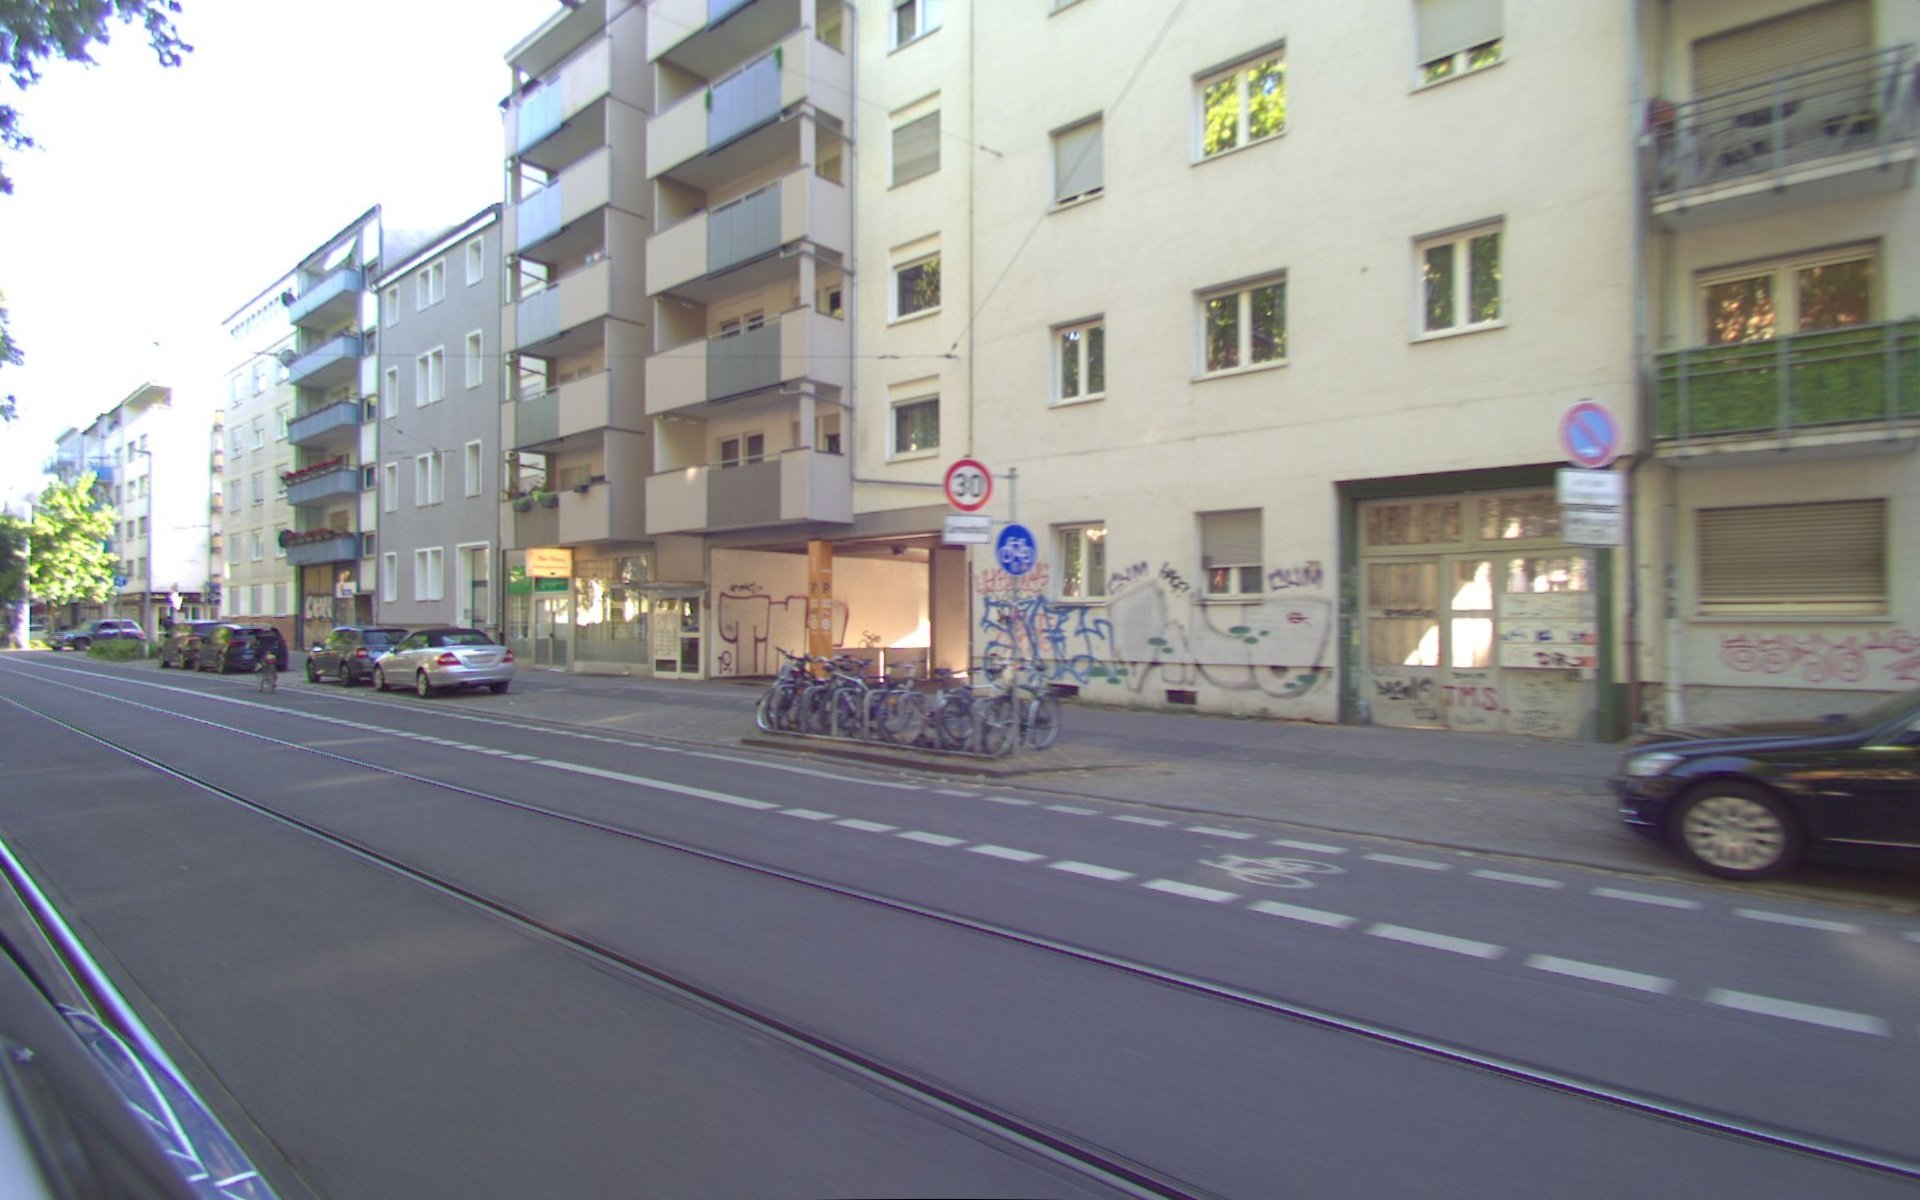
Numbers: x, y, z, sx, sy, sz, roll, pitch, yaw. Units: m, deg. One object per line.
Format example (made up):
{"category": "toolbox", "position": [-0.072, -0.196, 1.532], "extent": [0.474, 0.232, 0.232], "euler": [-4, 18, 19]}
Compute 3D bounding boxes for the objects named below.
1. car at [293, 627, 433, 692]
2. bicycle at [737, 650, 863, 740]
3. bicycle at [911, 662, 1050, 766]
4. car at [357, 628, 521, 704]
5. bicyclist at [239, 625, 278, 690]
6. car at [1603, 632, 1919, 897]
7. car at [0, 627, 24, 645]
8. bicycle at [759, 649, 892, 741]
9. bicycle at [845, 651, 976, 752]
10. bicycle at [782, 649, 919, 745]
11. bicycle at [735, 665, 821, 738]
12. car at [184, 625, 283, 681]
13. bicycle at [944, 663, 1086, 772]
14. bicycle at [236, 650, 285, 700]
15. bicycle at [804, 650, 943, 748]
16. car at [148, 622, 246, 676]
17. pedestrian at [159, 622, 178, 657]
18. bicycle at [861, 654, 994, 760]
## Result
{"category": "car", "position": [-15.180, 1.440, 25.642], "extent": [4.237, 1.502, 1.775], "euler": [-1, -2, 40]}
{"category": "bicycle", "position": [-2.269, 1.333, 14.552], "extent": [1.870, 1.127, 0.402], "euler": [-1, -1, -42]}
{"category": "bicycle", "position": [0.274, 1.306, 11.947], "extent": [1.870, 1.045, 0.402], "euler": [-1, -1, -42]}
{"category": "car", "position": [-11.534, 1.360, 22.265], "extent": [4.727, 1.502, 1.671], "euler": [-1, -2, 42]}
{"category": "bicyclist", "position": [-15.578, 1.264, 22.464], "extent": [0.709, 1.405, 0.503], "euler": [-1, -4, 41]}
{"category": "car", "position": [6.524, 0.932, 5.780], "extent": [4.572, 1.467, 1.699], "euler": [-1, -2, 43]}
{"category": "car", "position": [-84.349, 3.121, 88.261], "extent": [1.587, 1.535, 3.899], "euler": [-2, -2, 45]}
{"category": "bicycle", "position": [-1.837, 1.288, 14.089], "extent": [1.907, 1.127, 0.440], "euler": [-1, -1, -42]}
{"category": "bicycle", "position": [-0.599, 1.260, 12.904], "extent": [1.797, 1.127, 0.425], "euler": [-1, -1, -42]}
{"category": "bicycle", "position": [-1.450, 1.279, 13.713], "extent": [1.937, 1.127, 0.440], "euler": [-1, -1, -42]}
{"category": "bicycle", "position": [-2.663, 1.470, 14.990], "extent": [0.400, 0.924, 1.609], "euler": [-1, 0, 25]}
{"category": "car", "position": [-23.381, 1.653, 32.531], "extent": [4.199, 1.612, 1.639], "euler": [-1, 0, 41]}
{"category": "bicycle", "position": [0.662, 1.298, 11.529], "extent": [1.870, 1.045, 0.402], "euler": [-1, -1, -42]}
{"category": "bicycle", "position": [-15.506, 1.650, 22.413], "extent": [1.946, 1.026, 0.412], "euler": [-1, -4, 42]}
{"category": "bicycle", "position": [-1.108, 1.271, 13.365], "extent": [1.944, 1.127, 0.425], "euler": [-1, -1, -42]}
{"category": "car", "position": [-27.048, 1.679, 35.834], "extent": [4.485, 1.752, 1.762], "euler": [-1, 0, 39]}
{"category": "pedestrian", "position": [-44.290, 2.216, 56.627], "extent": [0.762, 1.913, 0.800], "euler": [0, -1, -41]}
{"category": "bicycle", "position": [-0.375, 1.277, 12.450], "extent": [1.767, 1.127, 0.425], "euler": [-1, -1, -42]}
